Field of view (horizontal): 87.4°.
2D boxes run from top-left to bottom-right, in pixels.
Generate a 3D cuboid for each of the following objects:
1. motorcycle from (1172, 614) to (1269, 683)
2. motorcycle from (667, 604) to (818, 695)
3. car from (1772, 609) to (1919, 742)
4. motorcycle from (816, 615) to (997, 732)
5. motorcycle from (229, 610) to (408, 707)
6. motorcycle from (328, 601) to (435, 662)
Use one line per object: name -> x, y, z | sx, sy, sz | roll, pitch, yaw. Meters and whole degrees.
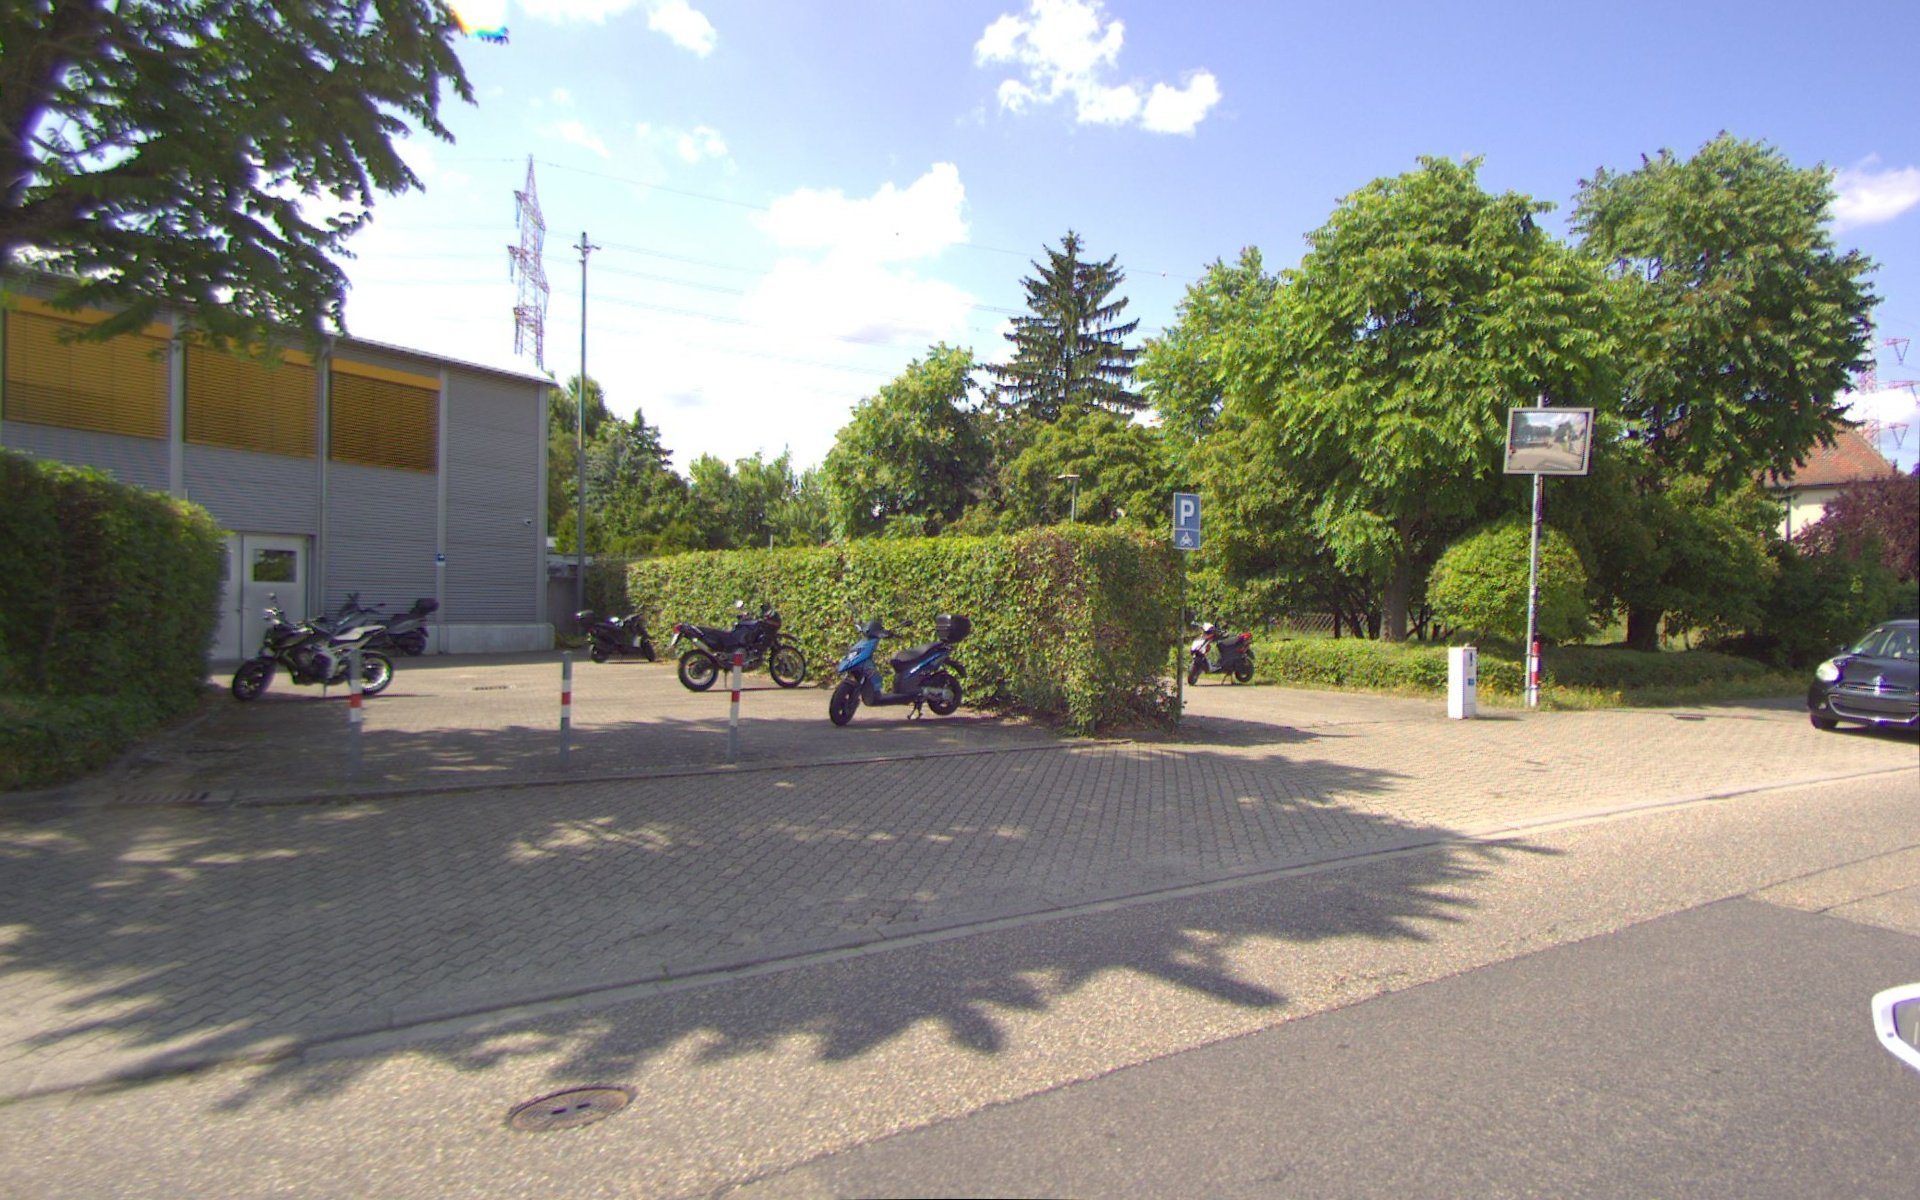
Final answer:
motorcycle -> 4.858, 0.887, 18.676 | 1.917, 1.236, 0.530 | 1, 0, -30
motorcycle -> -3.402, 0.758, 15.835 | 2.271, 1.368, 0.529 | 1, 0, -32
car -> 13.117, 0.958, 13.698 | 3.953, 1.528, 1.836 | 1, 3, -30
motorcycle -> -0.581, 0.804, 11.486 | 2.062, 1.236, 0.529 | 1, 0, -32
motorcycle -> -8.646, 0.751, 13.638 | 0.525, 1.218, 2.000 | 0, -1, 34
motorcycle -> -13.236, 0.710, 23.047 | 0.525, 1.344, 2.096 | 0, 0, 34
